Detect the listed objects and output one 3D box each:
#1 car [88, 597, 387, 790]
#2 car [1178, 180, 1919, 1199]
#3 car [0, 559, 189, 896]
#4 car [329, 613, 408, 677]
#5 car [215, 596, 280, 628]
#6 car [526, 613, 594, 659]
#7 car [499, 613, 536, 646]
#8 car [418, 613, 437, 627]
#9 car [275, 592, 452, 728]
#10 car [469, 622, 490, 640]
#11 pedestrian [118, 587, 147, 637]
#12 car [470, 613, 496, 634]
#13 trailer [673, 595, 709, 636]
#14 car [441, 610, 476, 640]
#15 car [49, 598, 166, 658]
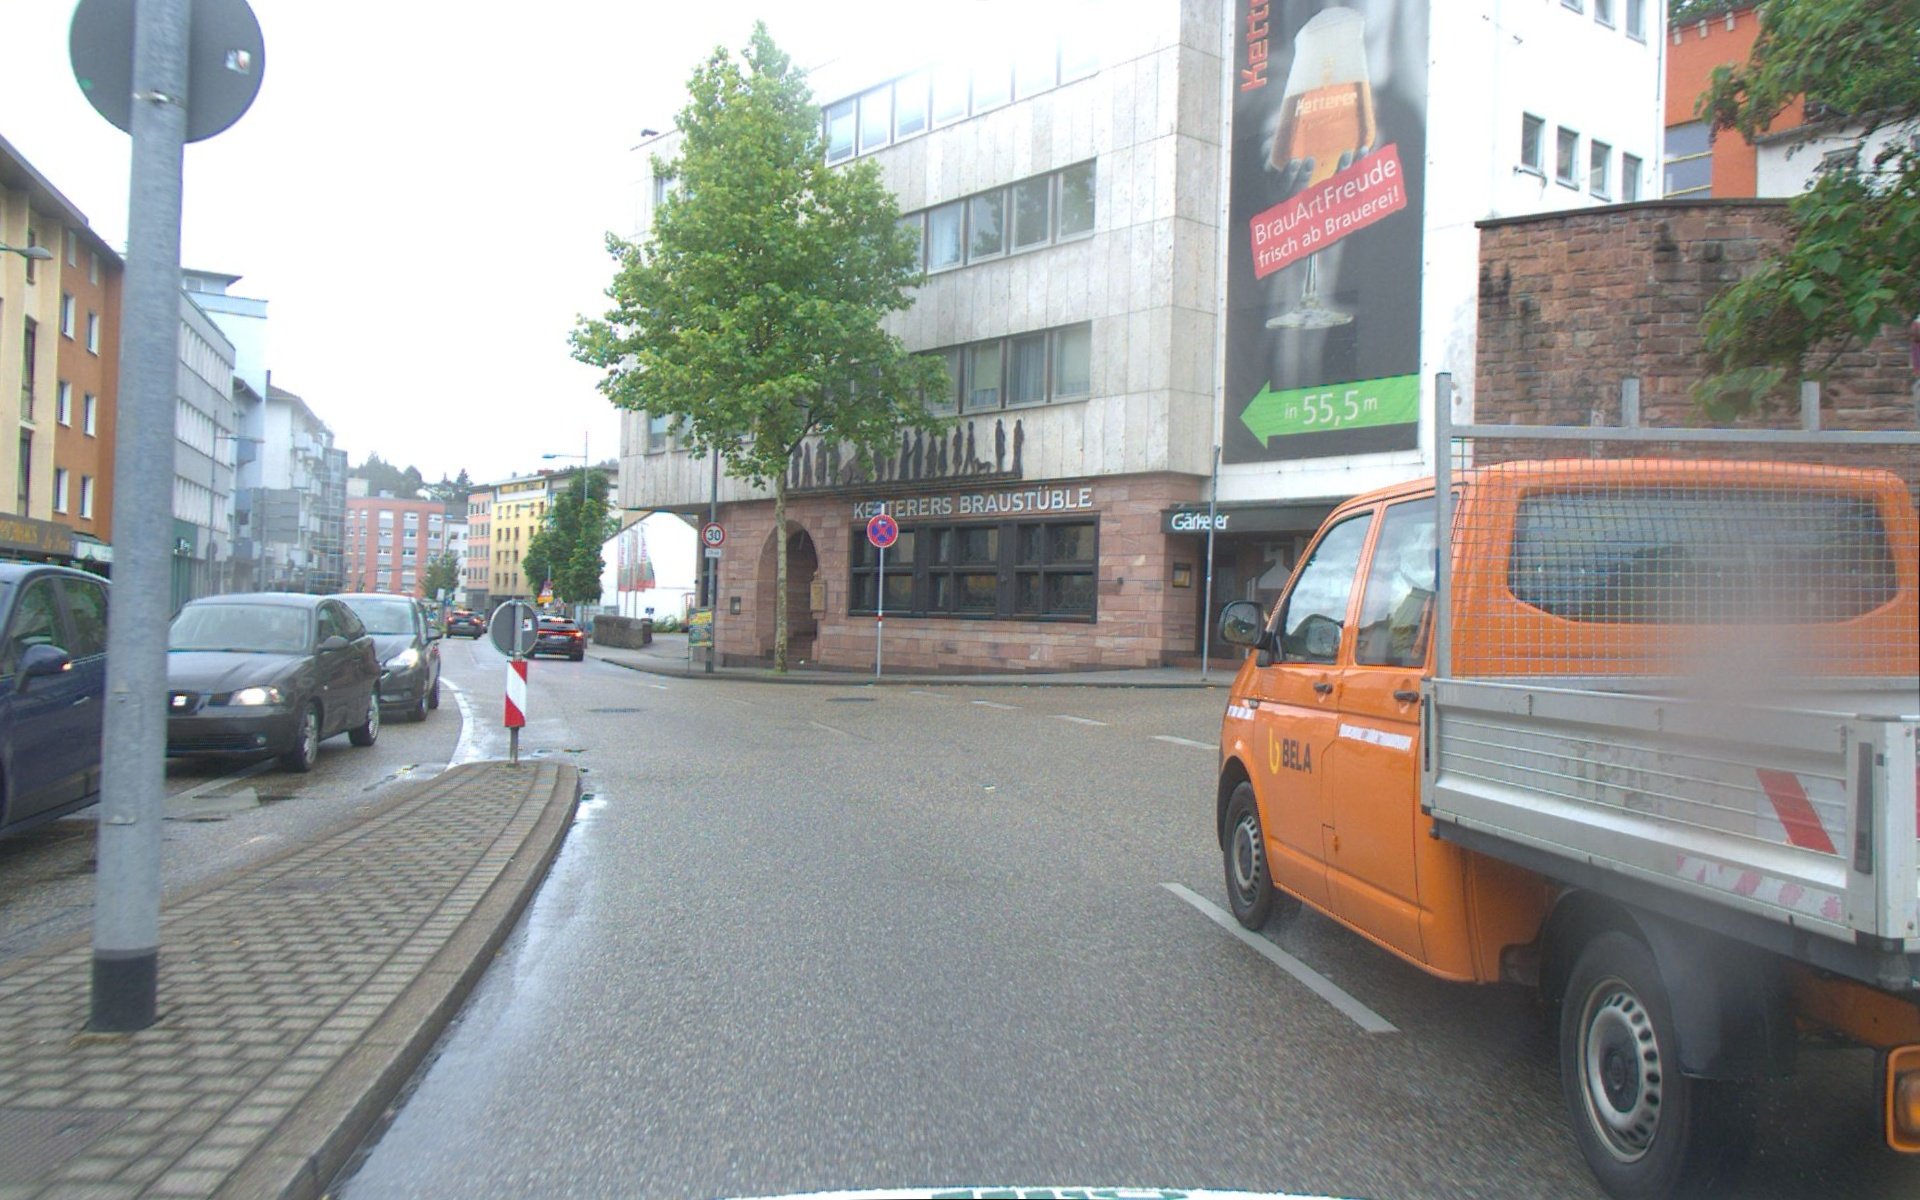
[{"bbox_3d":[-6.125,0.706,14.429,1.527,1.422,3.719,0,0,-10],"label":"car"},{"bbox_3d":[2.388,0.432,5.651,2.061,2.126,5.535,3,-1,-5],"label":"car"},{"bbox_3d":[-5.698,0.607,8.932,1.723,1.643,4.201,1,0,-10],"label":"car"},{"bbox_3d":[-14.454,1.081,40.495,1.707,1.465,4.388,1,-1,-19],"label":"car"},{"bbox_3d":[-49.147,0.867,114.133,3.898,2.070,1.574,2,-2,-16],"label":"car"},{"bbox_3d":[-13.532,1.171,55.837,1.763,1.427,4.607,-1,0,-19],"label":"car"},{"bbox_3d":[-21.723,1.446,81.081,1.638,1.420,3.850,1,2,-17],"label":"car"},{"bbox_3d":[-54.705,2.045,170.037,1.693,1.448,4.146,0,-1,-16],"label":"car"},{"bbox_3d":[-7.233,0.685,20.374,1.616,1.479,3.974,2,-1,-14],"label":"car"},{"bbox_3d":[-39.038,2.522,134.365,1.615,1.405,3.331,1,-1,-18],"label":"car"},{"bbox_3d":[-29.899,0.435,59.765,0.620,1.704,0.904,6,-3,-17],"label":"pedestrian"},{"bbox_3d":[-32.683,1.644,113.251,1.615,1.405,3.331,1,-1,-18],"label":"car"},{"bbox_3d":[-18.866,1.047,115.893,2.091,2.764,5.371,0,0,-14],"label":"trailer"},{"bbox_3d":[-29.540,1.448,97.499,1.793,1.628,3.702,4,-2,-16],"label":"car"},{"bbox_3d":[-21.186,0.738,41.256,1.700,1.390,4.093,2,-2,-15],"label":"car"}]
